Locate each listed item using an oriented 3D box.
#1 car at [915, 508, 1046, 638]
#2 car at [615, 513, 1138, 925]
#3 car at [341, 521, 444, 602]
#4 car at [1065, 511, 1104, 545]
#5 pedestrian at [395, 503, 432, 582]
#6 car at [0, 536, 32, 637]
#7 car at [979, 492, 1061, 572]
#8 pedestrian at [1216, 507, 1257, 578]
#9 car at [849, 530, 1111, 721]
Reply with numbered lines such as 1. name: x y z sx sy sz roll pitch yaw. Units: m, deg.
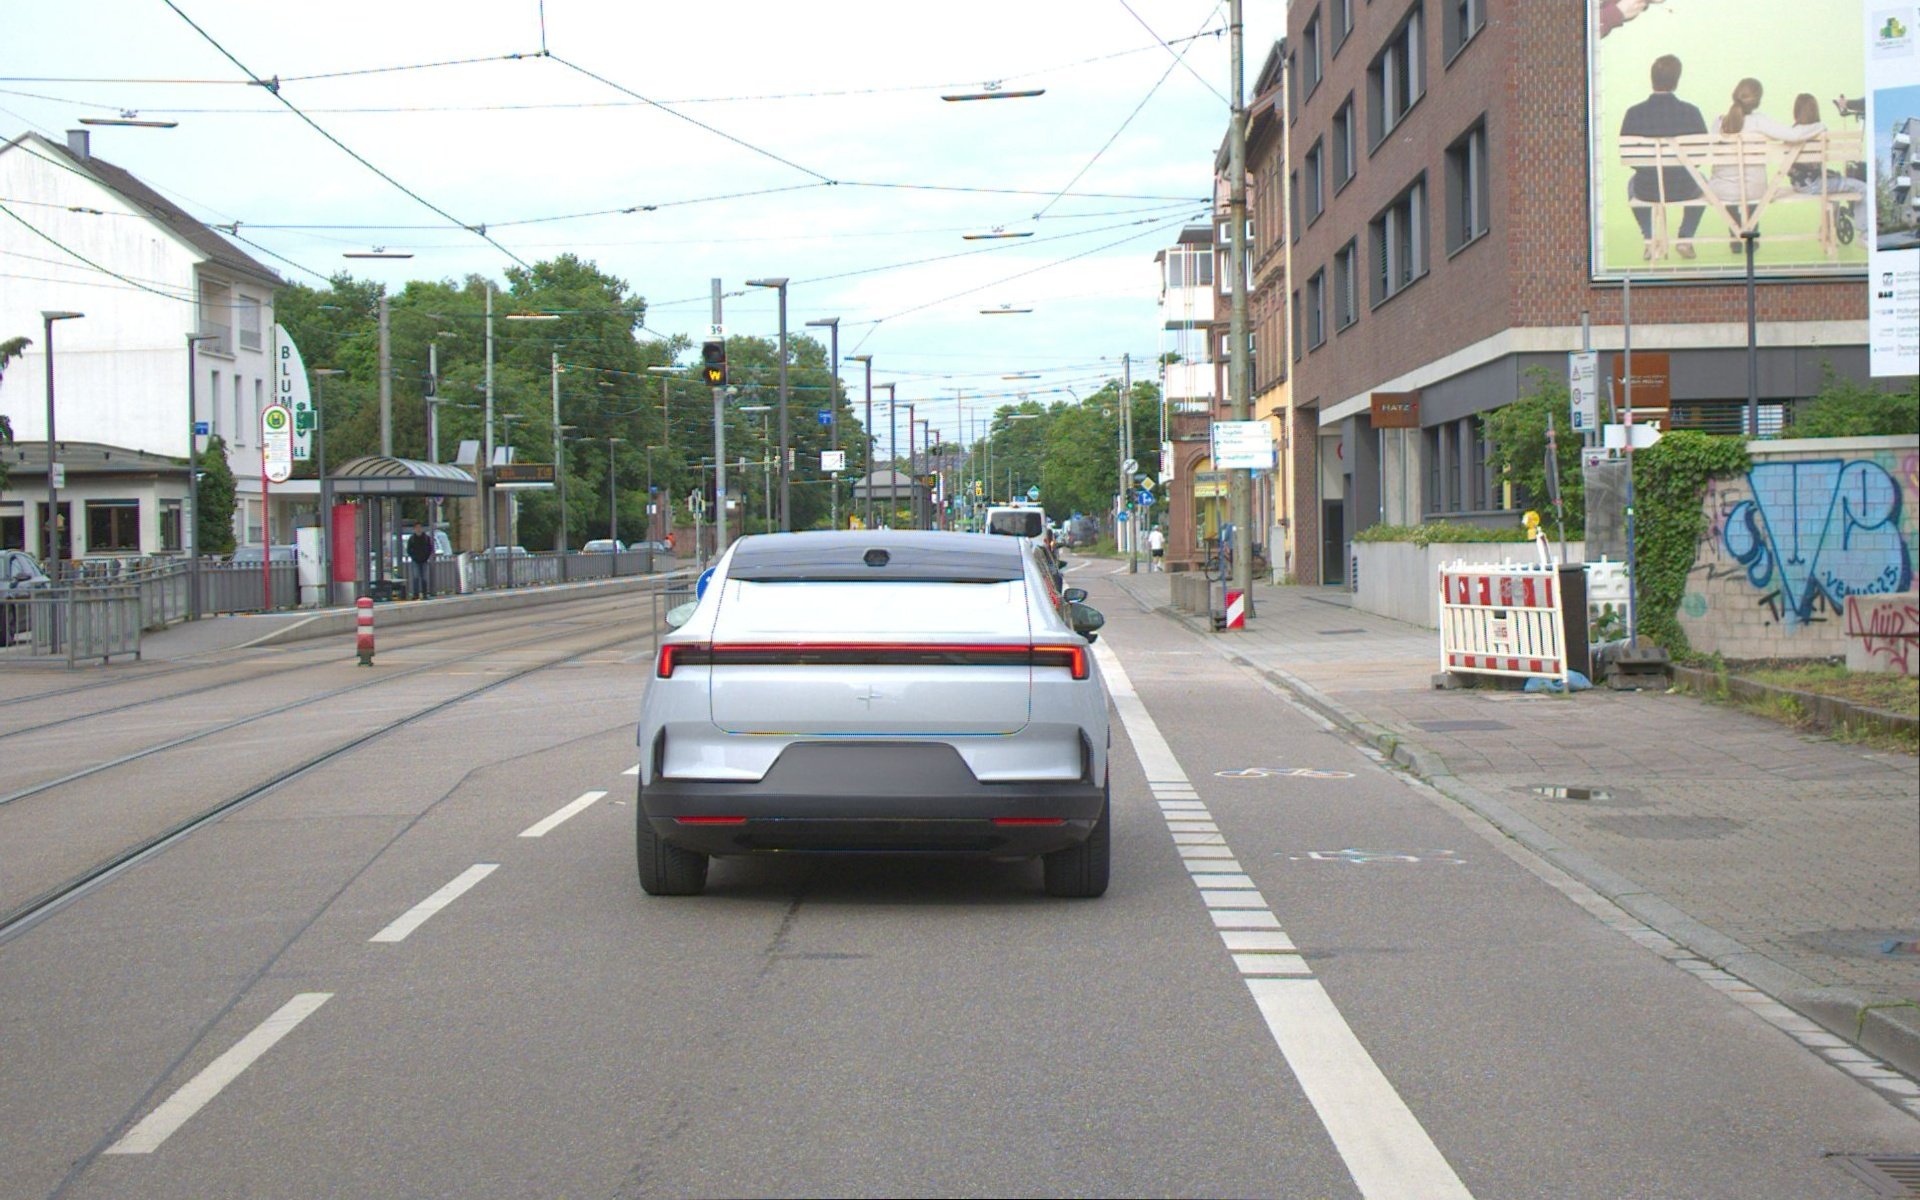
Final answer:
1. car: 0.314 -0.379 46.642 1.681 1.681 3.823 0 1 2
2. car: -0.424 0.433 15.175 1.999 1.575 4.001 0 1 -3
3. car: -14.687 -1.015 89.120 1.884 1.982 4.525 -1 1 0
4. car: 9.254 -5.321 255.999 2.807 2.496 5.722 0 1 1
5. pedestrian: -11.607 -1.218 73.032 0.615 1.659 0.697 0 1 5
6. car: -15.190 -0.190 51.607 1.904 1.468 4.821 -2 1 -10
7. car: 1.805 -2.065 104.963 2.226 2.394 5.124 0 1 -2
8. pedestrian: 7.443 -1.559 92.479 0.961 1.843 0.975 -3 2 8
9. car: 0.158 0.157 28.624 1.993 1.415 4.000 -1 1 0
